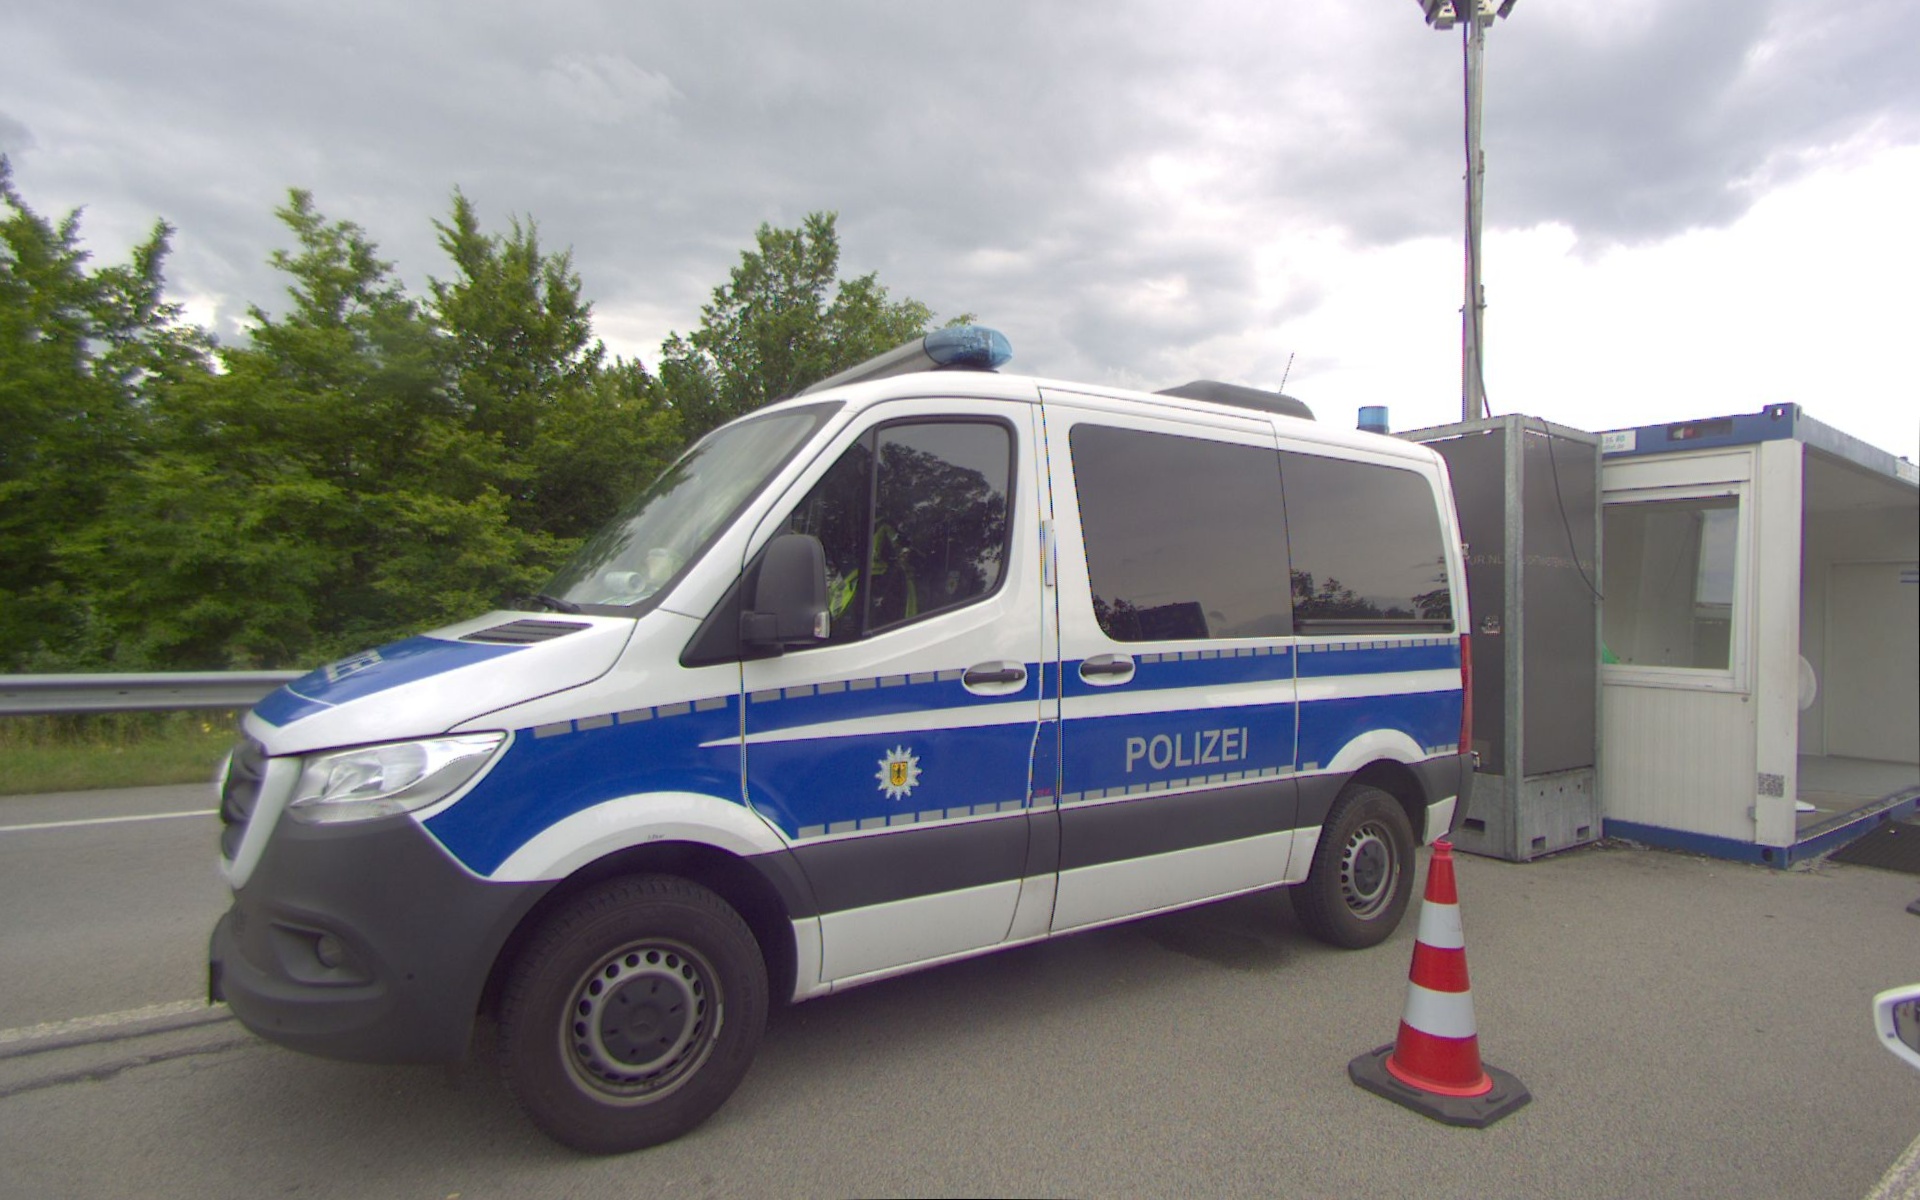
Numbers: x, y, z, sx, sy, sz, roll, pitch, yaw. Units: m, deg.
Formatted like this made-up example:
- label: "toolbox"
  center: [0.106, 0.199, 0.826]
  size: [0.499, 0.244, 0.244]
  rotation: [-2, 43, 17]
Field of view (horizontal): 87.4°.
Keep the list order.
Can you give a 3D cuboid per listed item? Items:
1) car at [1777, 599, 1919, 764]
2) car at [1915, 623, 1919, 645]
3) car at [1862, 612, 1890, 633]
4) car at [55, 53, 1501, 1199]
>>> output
- label: "car"
  center: [11.790, 0.922, 12.175]
  size: [3.967, 1.767, 1.857]
  rotation: [1, 0, -34]
- label: "car"
  center: [69.058, 2.448, 71.137]
  size: [1.834, 1.518, 4.235]
  rotation: [1, 0, 41]
- label: "car"
  center: [101.312, 2.493, 111.112]
  size: [1.831, 2.252, 4.242]
  rotation: [1, 0, 36]
- label: "car"
  center: [-0.116, 0.236, 4.257]
  size: [5.224, 2.496, 2.017]
  rotation: [1, 0, -34]
